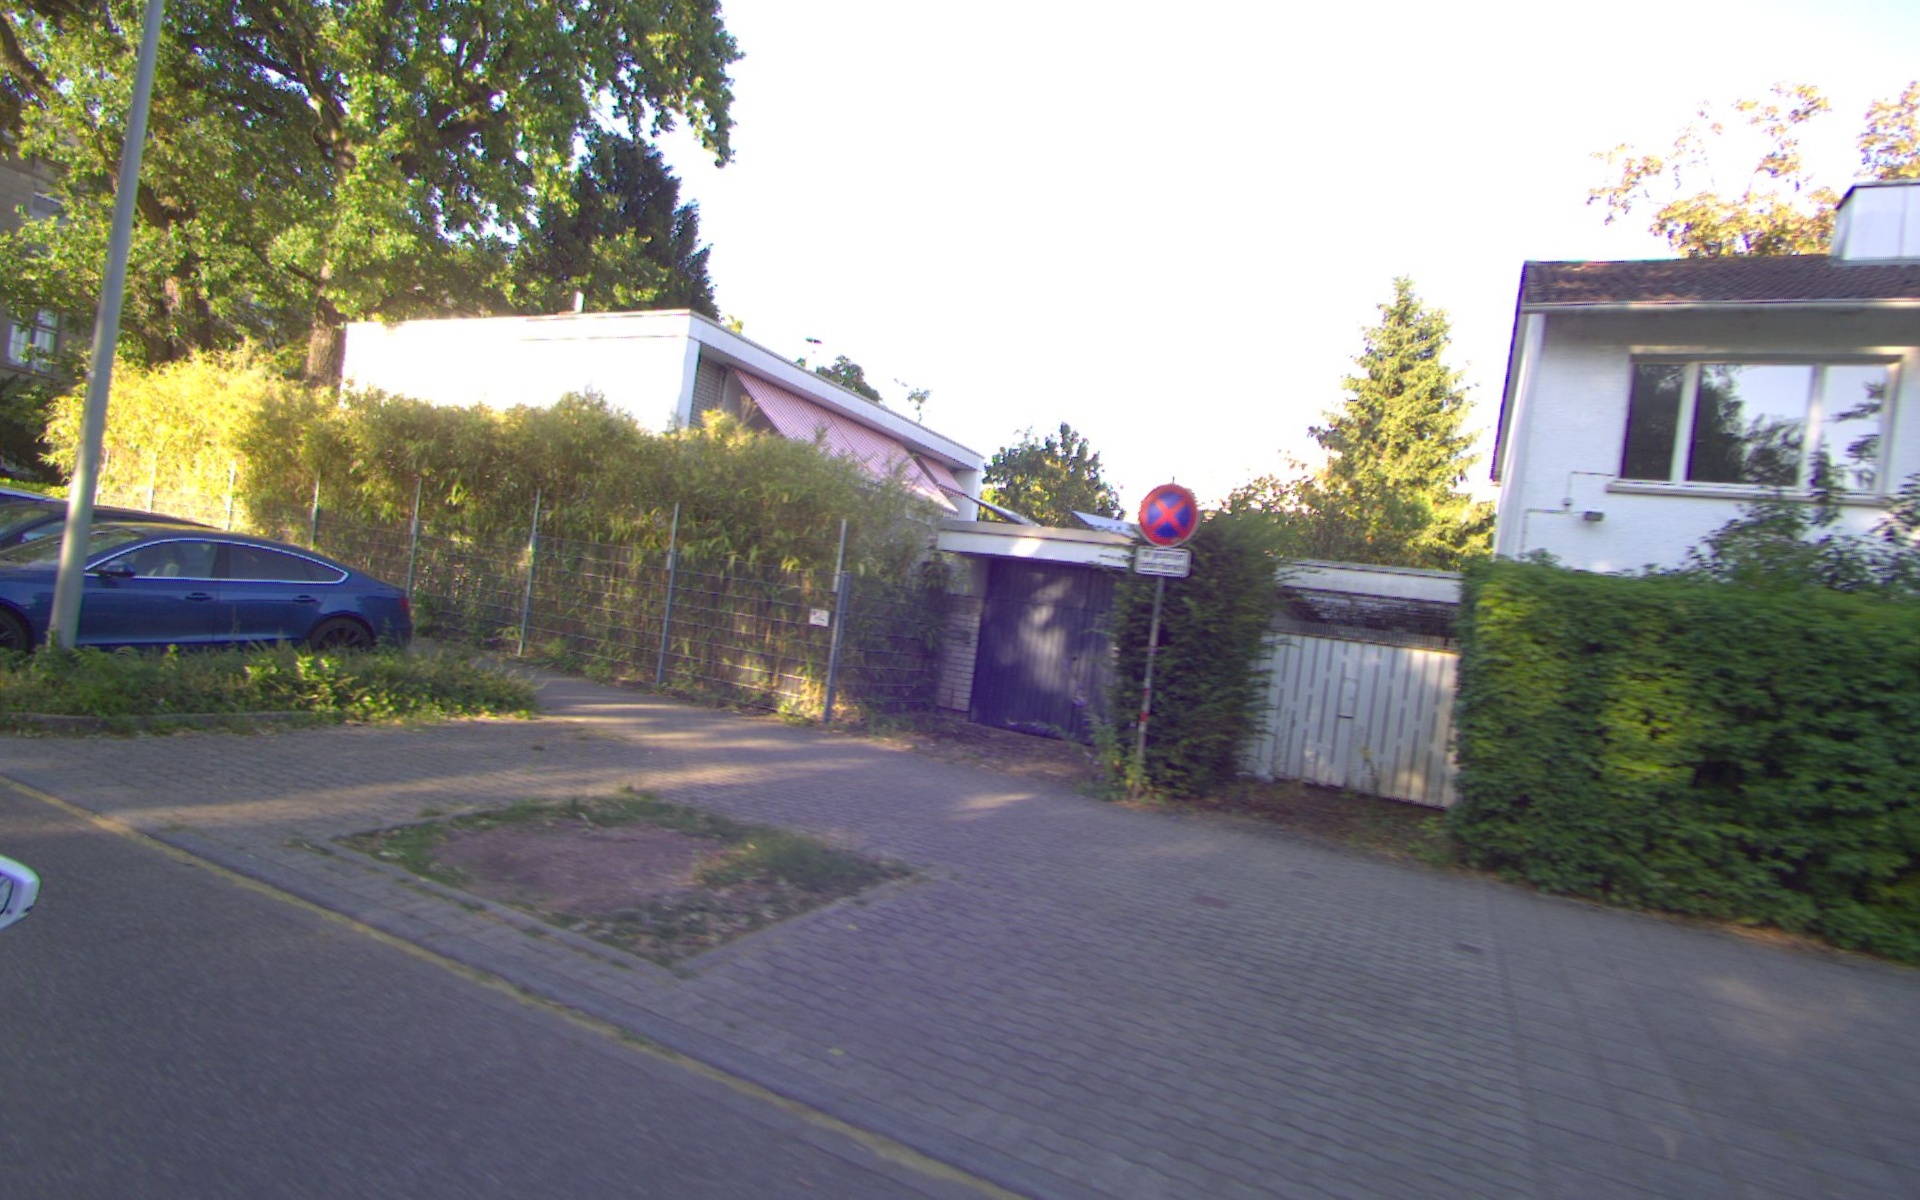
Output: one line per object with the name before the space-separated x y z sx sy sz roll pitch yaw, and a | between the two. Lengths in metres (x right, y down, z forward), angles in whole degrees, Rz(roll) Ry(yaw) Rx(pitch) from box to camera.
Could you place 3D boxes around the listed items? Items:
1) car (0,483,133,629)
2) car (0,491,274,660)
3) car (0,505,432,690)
car | -11.941 -0.664 11.373 1.729 1.602 3.508 7 -2 17
car | -9.730 -0.315 10.550 1.759 1.541 3.694 7 -2 23
car | -7.685 -0.028 9.325 1.889 1.432 4.597 6 0 28
